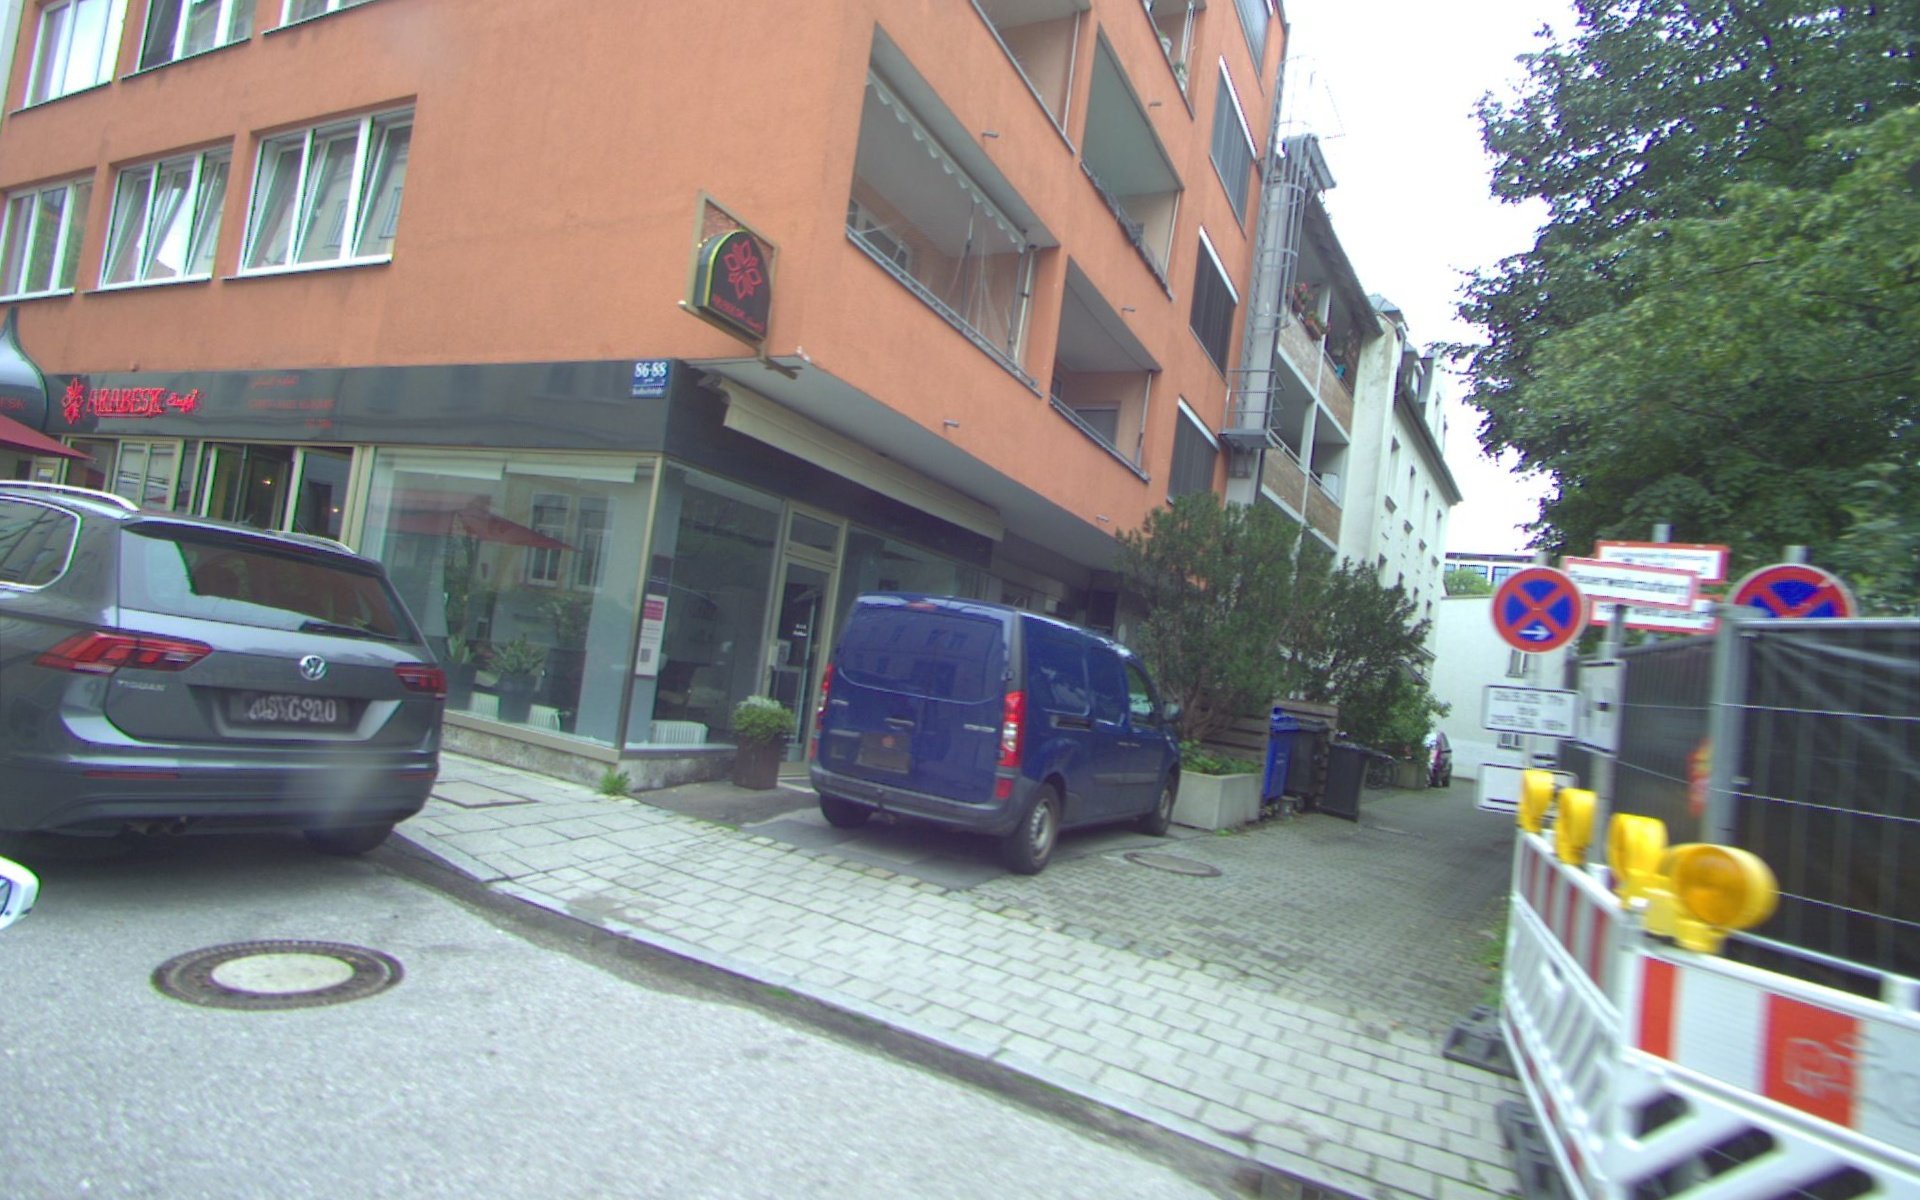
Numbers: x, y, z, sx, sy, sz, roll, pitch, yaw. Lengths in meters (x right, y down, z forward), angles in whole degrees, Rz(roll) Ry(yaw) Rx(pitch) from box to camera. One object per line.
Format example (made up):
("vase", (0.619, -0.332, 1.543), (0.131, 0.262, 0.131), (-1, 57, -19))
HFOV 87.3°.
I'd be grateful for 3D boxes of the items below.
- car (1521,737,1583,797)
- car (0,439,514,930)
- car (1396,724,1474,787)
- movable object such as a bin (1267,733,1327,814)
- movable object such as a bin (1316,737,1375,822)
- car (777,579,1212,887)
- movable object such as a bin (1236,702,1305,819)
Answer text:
("car", (22.252, 6.278, 37.745), (1.704, 1.848, 3.999), (6, -5, 33))
("car", (-4.705, 0.223, 5.382), (4.314, 1.727, 1.831), (6, -4, 29))
("car", (14.497, 4.764, 30.603), (1.534, 1.560, 3.775), (6, -6, 33))
("movable object such as a bin", (4.798, 2.460, 14.304), (0.608, 1.023, 0.681), (6, -4, 28))
("movable object such as a bin", (5.418, 2.516, 14.123), (0.608, 1.064, 0.535), (6, -4, 28))
("car", (0.638, 1.053, 8.586), (1.808, 1.739, 4.477), (7, -3, 27))
("movable object such as a bin", (4.051, 2.081, 13.107), (0.608, 1.388, 0.627), (7, -4, 28))
